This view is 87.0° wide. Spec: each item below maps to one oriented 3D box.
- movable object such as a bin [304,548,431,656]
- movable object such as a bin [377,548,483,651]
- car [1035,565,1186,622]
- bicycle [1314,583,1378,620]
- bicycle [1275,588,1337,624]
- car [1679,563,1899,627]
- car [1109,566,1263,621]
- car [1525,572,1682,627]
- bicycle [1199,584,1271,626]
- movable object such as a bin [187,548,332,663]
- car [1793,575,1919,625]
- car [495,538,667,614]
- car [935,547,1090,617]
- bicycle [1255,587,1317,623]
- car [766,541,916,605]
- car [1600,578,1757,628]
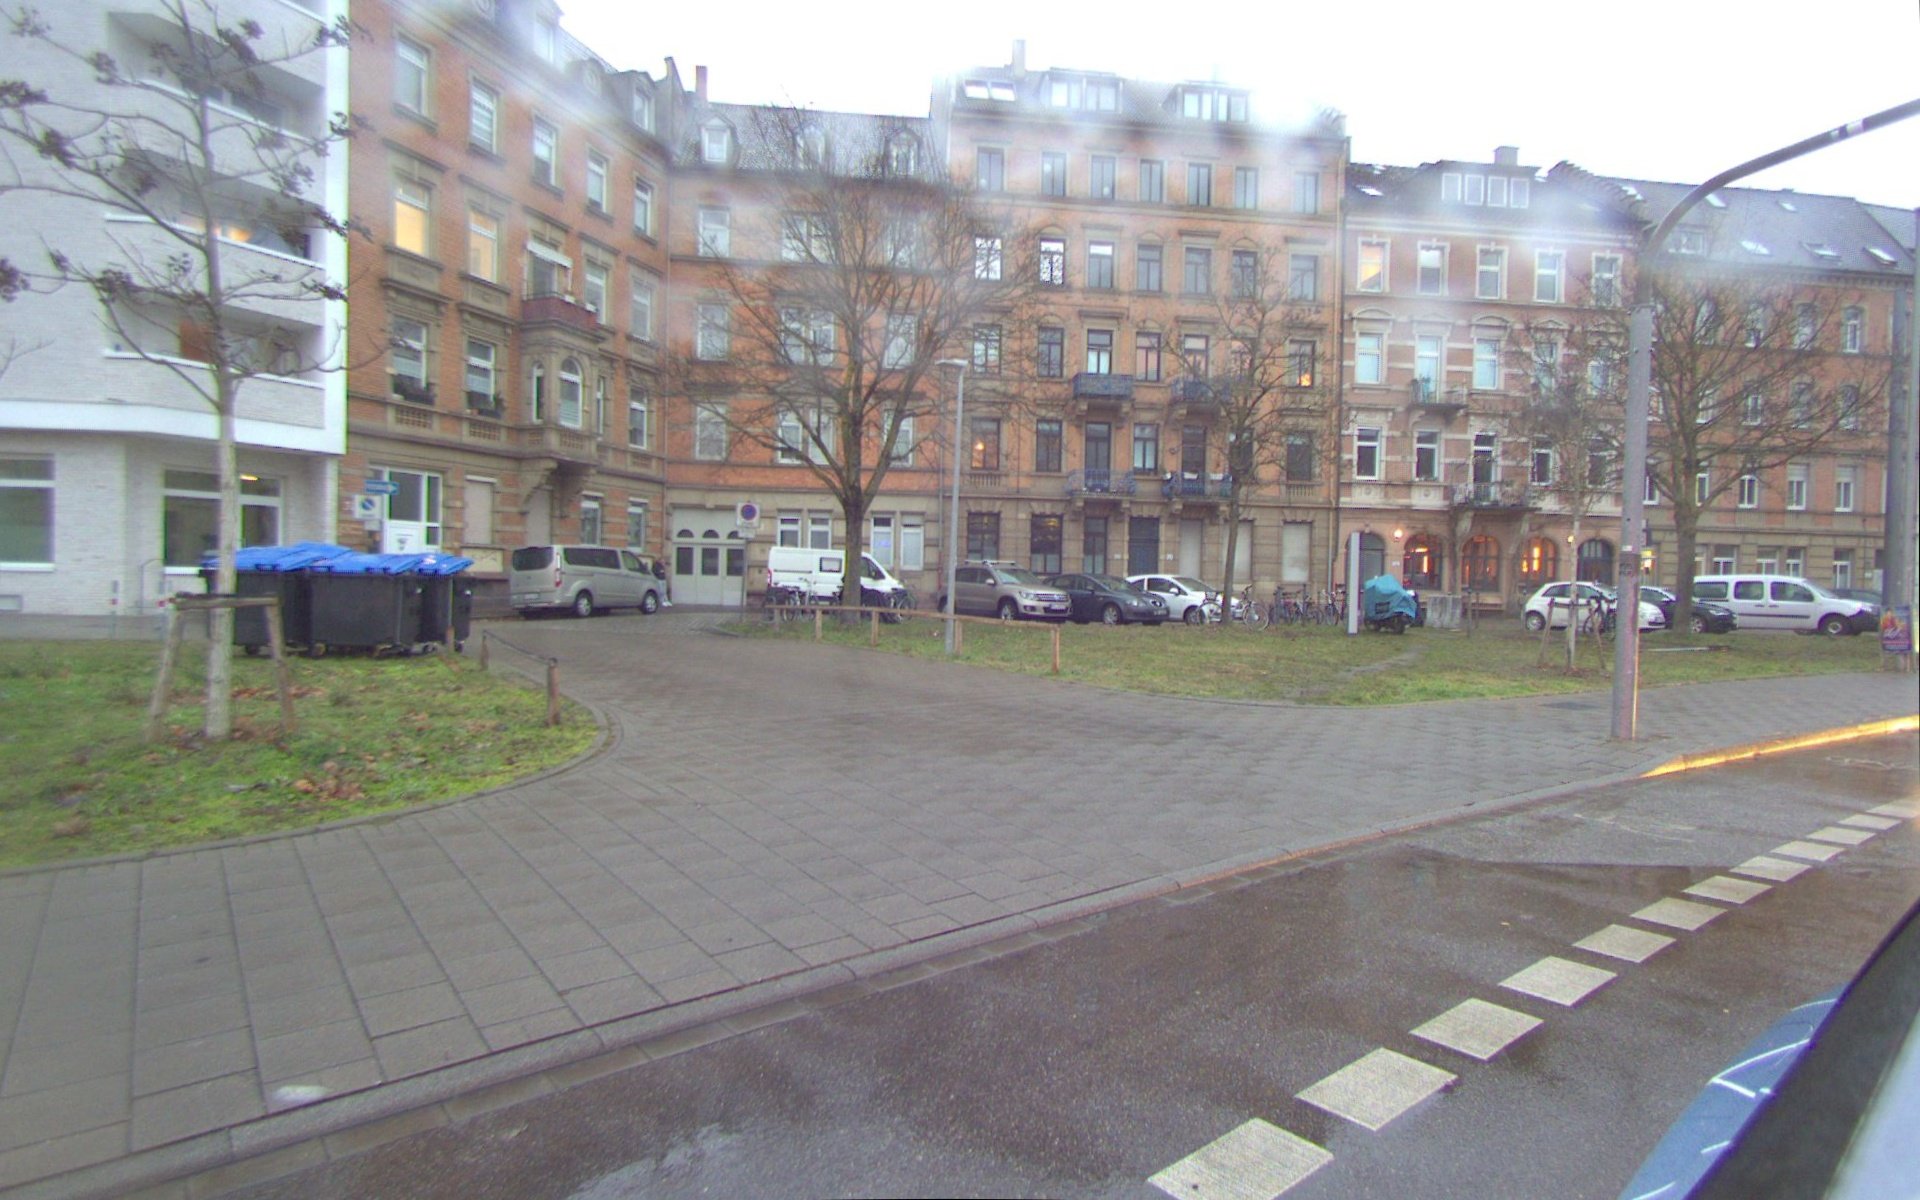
[{"bbox_3d":[-8.294,0.009,14.213,1.200,1.433,1.018,1,2,-3],"label":"movable object such as a bin"},{"bbox_3d":[-8.004,0.006,15.335,1.022,1.509,1.035,0,-1,6],"label":"movable object such as a bin"},{"bbox_3d":[3.899,-0.171,26.678,1.649,1.372,3.737,2,0,-42],"label":"car"},{"bbox_3d":[11.205,0.018,29.436,0.613,0.978,2.176,1,2,-13],"label":"bicycle"},{"bbox_3d":[10.012,0.160,29.364,0.613,0.978,2.175,3,-1,-13],"label":"bicycle"},{"bbox_3d":[24.121,-0.203,29.624,1.745,1.611,4.663,0,3,-37],"label":"car"},{"bbox_3d":[6.094,-0.211,27.580,1.669,1.353,3.852,0,1,-42],"label":"car"},{"bbox_3d":[18.358,-0.006,29.002,1.583,1.461,3.467,1,0,-34],"label":"car"},{"bbox_3d":[6.628,0.108,24.425,1.628,0.948,0.512,2,1,15],"label":"bicycle"},{"bbox_3d":[-9.655,0.061,14.006,1.304,1.514,1.031,1,1,0],"label":"movable object such as a bin"},{"bbox_3d":[27.134,0.031,29.479,1.737,1.250,4.066,2,3,-35],"label":"car"},{"bbox_3d":[-10.544,-0.595,28.593,1.976,1.943,4.715,-1,-1,21],"label":"car"},{"bbox_3d":[1.289,-0.528,26.470,1.908,1.656,4.000,-1,3,-37],"label":"car"},{"bbox_3d":[9.367,0.140,29.181,0.613,0.978,2.175,3,-1,-13],"label":"bicycle"},{"bbox_3d":[-4.063,-0.929,34.475,4.885,2.038,2.004,1,2,-8],"label":"car"},{"bbox_3d":[20.992,0.064,29.652,1.634,1.368,3.430,1,0,-39],"label":"car"}]
